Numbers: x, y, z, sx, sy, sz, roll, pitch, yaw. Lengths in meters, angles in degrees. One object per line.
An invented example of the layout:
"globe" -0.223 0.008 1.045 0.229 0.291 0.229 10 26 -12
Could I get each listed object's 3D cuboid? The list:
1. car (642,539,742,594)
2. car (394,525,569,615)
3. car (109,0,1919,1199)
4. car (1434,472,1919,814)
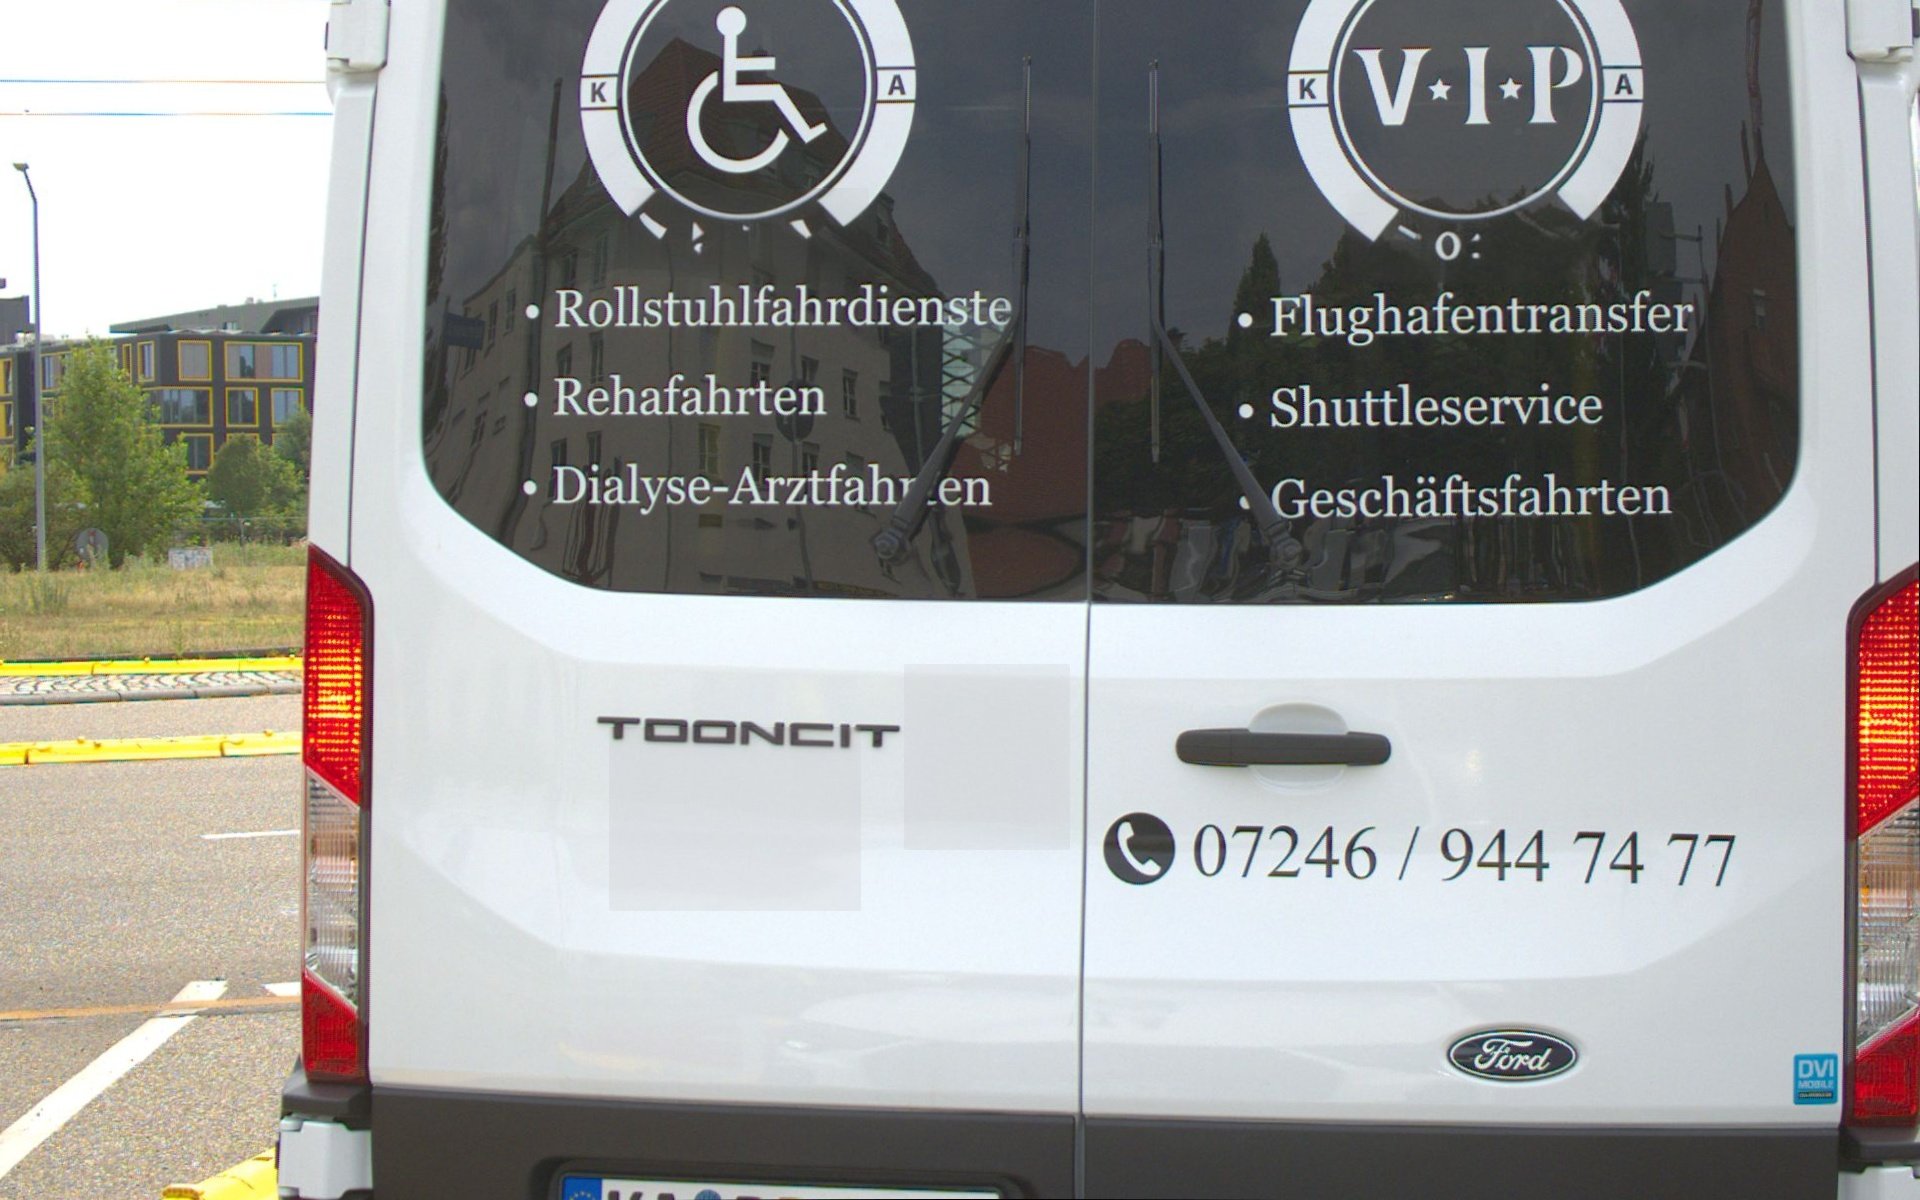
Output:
"car" -7.377 -0.943 94.934 1.828 1.458 3.999 0 1 9
"car" -10.961 -0.674 78.998 1.997 2.007 3.993 0 0 29
"car" 0.452 -0.013 6.393 2.127 2.688 5.631 0 1 6
"car" 4.562 0.126 17.077 4.133 1.514 1.741 -2 2 -29
